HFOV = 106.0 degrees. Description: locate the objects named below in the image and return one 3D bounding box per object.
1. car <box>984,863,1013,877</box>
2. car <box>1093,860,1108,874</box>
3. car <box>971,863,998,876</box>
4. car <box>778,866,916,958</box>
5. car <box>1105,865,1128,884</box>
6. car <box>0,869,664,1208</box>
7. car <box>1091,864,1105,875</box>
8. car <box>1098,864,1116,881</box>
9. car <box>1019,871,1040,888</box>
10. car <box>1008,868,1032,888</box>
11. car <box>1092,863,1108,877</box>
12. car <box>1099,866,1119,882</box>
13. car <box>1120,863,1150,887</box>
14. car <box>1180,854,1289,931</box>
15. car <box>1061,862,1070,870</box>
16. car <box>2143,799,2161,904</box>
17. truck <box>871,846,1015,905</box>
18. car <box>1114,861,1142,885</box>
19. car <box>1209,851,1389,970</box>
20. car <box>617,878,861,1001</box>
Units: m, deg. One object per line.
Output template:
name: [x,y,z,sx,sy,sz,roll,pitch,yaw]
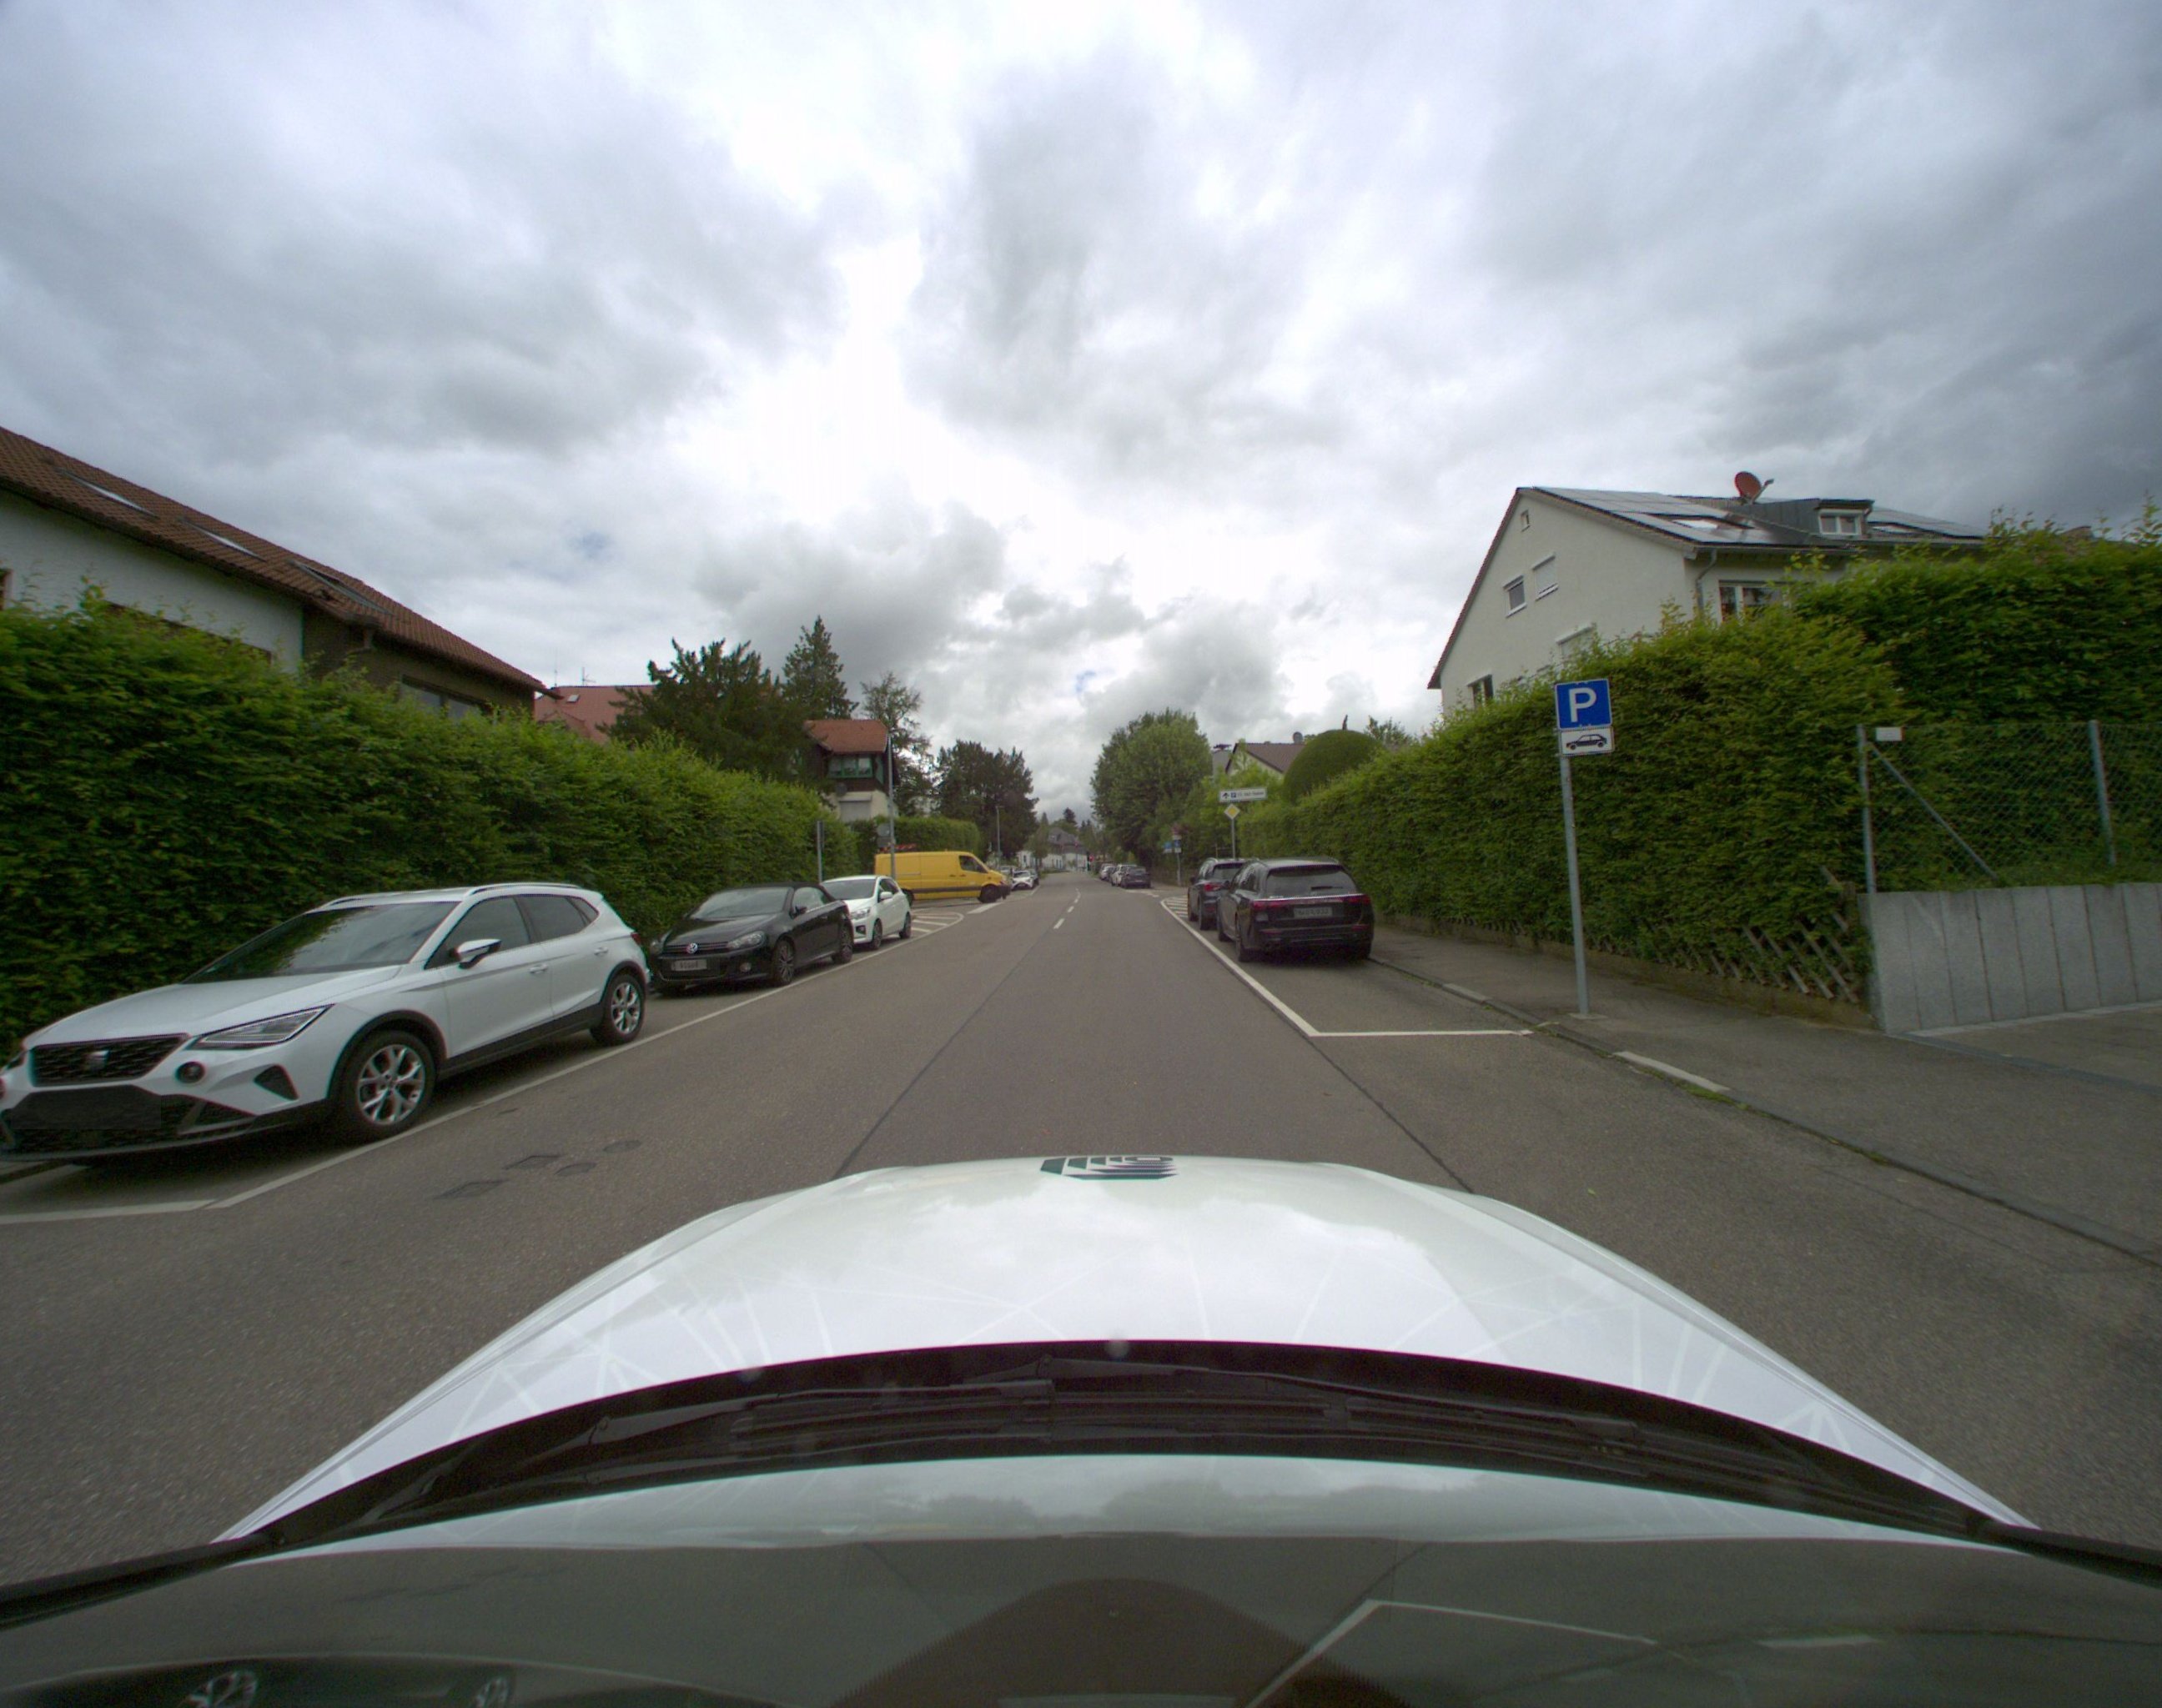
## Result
car: [-11.523,2.193,113.671,3.839,1.737,1.639,-2,0,-6]
car: [2.497,1.653,103.451,1.639,1.668,3.464,-2,0,-2]
car: [-14.226,2.222,119.967,3.839,1.737,1.639,-2,0,-6]
car: [-4.730,1.104,16.999,1.624,1.523,3.639,-5,0,2]
car: [3.027,1.751,70.168,1.661,1.501,3.464,-2,0,-2]
car: [-5.039,0.973,6.077,1.717,1.540,3.999,-4,0,0]
car: [2.295,2.126,112.231,1.639,1.372,3.464,-2,0,-2]
car: [2.815,1.954,87.867,1.661,1.668,3.464,-2,0,-2]
car: [-4.695,2.336,74.003,1.663,1.399,3.459,-2,0,-7]
car: [-4.658,1.813,61.865,1.663,1.399,3.459,-2,0,-7]
car: [2.180,1.865,94.462,1.661,1.501,3.464,-2,0,-2]
car: [2.720,1.946,80.714,1.661,1.501,3.464,-2,0,-2]
car: [3.687,1.424,56.052,1.661,1.501,3.464,-2,0,-2]
car: [3.416,0.788,18.898,1.875,1.533,4.478,-2,0,3]
car: [-3.448,2.600,176.678,1.818,1.420,3.997,-2,0,-2]
car: [8.490,0.023,3.803,4.351,1.468,1.968,-10,0,0]
truck: [-6.127,0.971,35.856,5.944,2.309,2.810,-1,-4,-16]
car: [3.501,1.402,61.059,1.709,1.657,3.619,-2,0,-2]
car: [3.255,0.755,13.089,1.875,1.533,4.478,-2,0,3]
car: [-4.821,1.121,12.168,1.756,1.388,4.001,-5,-2,2]
